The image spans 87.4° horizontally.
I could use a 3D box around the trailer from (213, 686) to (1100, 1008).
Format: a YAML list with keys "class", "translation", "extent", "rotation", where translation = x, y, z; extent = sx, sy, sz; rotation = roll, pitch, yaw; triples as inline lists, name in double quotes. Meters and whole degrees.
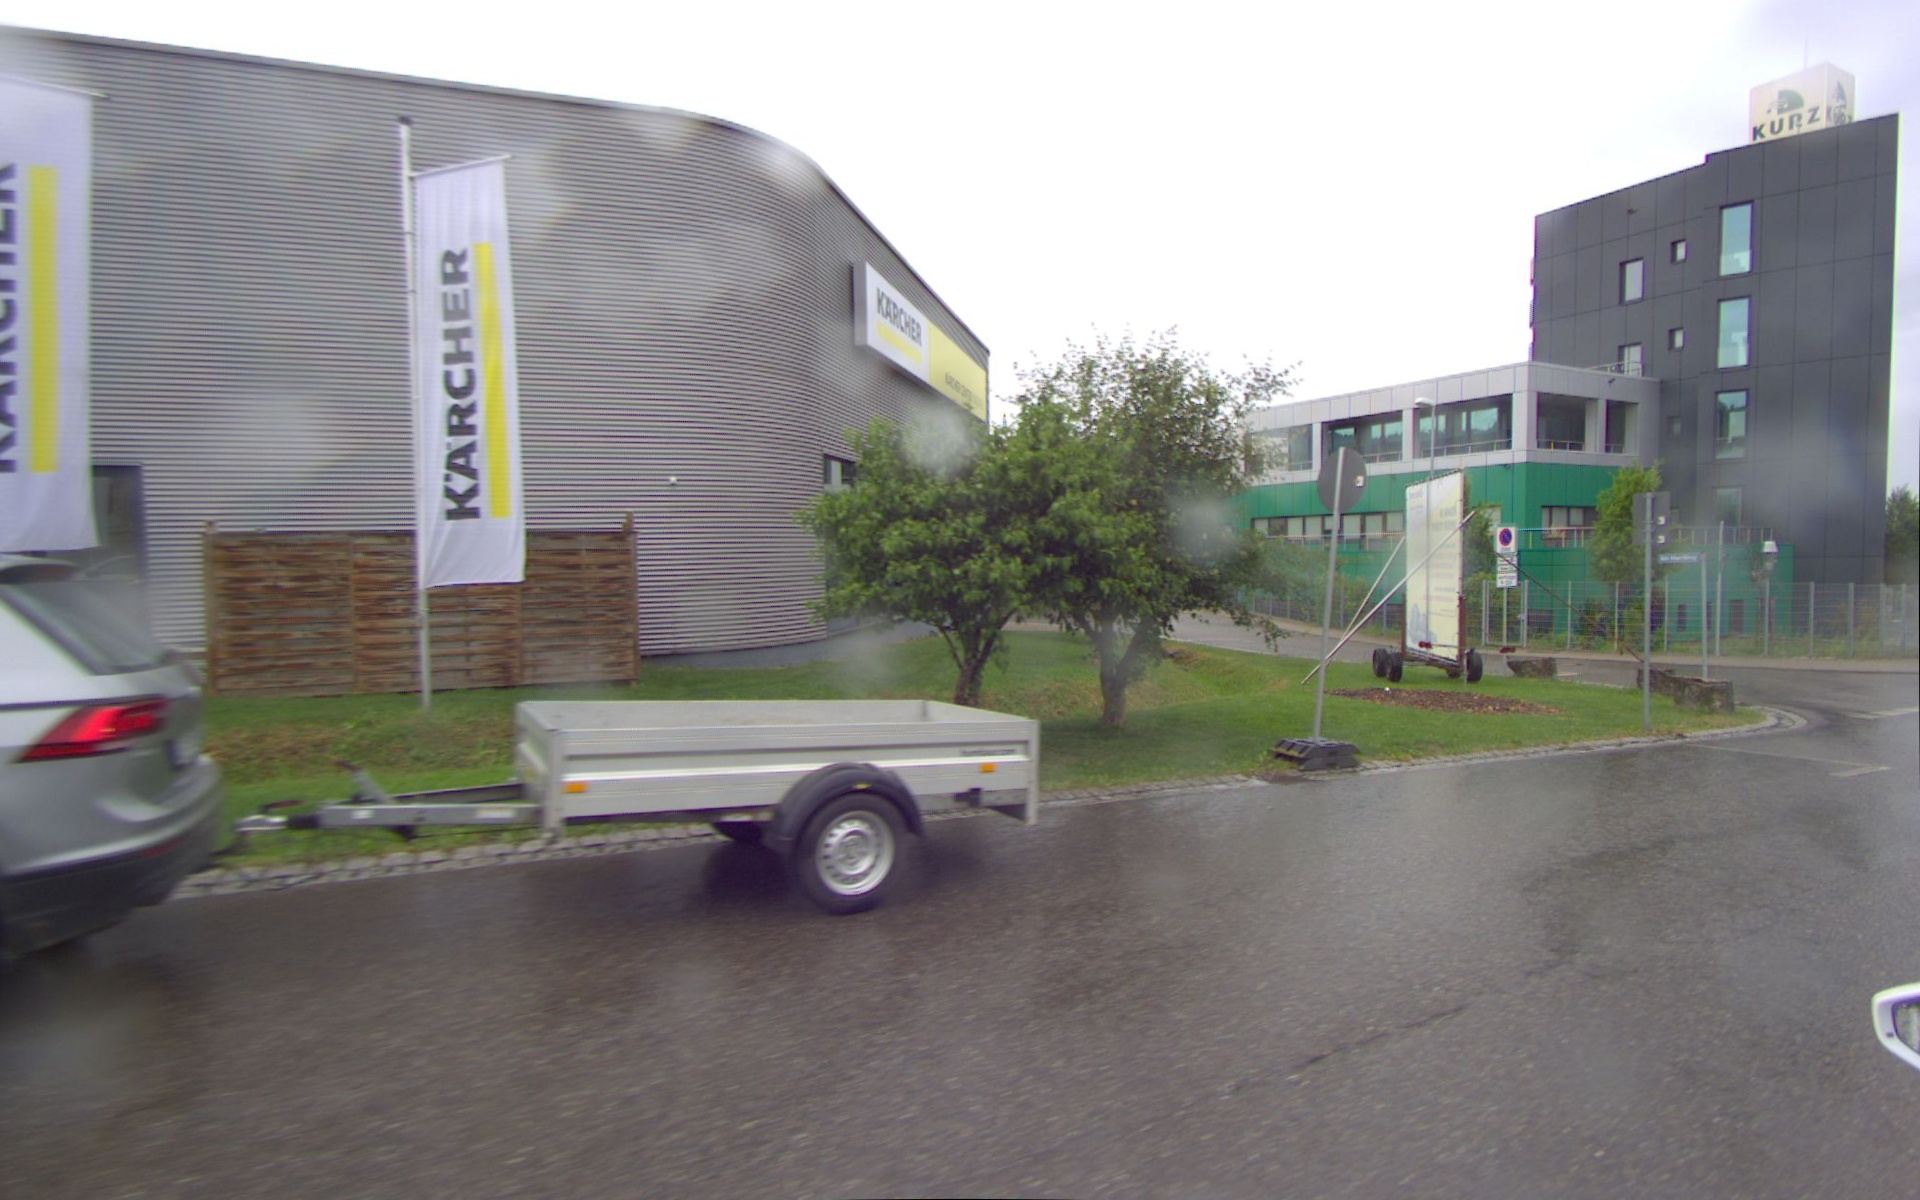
- class: "trailer"
  translation: [-1.320, 0.991, 5.161]
  extent: [3.853, 0.900, 1.671]
  rotation: [2, 0, -31]

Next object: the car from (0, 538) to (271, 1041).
- class: "car"
  translation: [-5.092, 0.544, 3.054]
  extent: [4.786, 1.597, 1.947]
  rotation: [2, -1, -32]

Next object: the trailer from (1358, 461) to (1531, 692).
- class: "trailer"
  translation: [9.799, -0.435, 20.704]
  extent: [1.965, 4.259, 4.189]
  rotation: [1, 0, 8]
